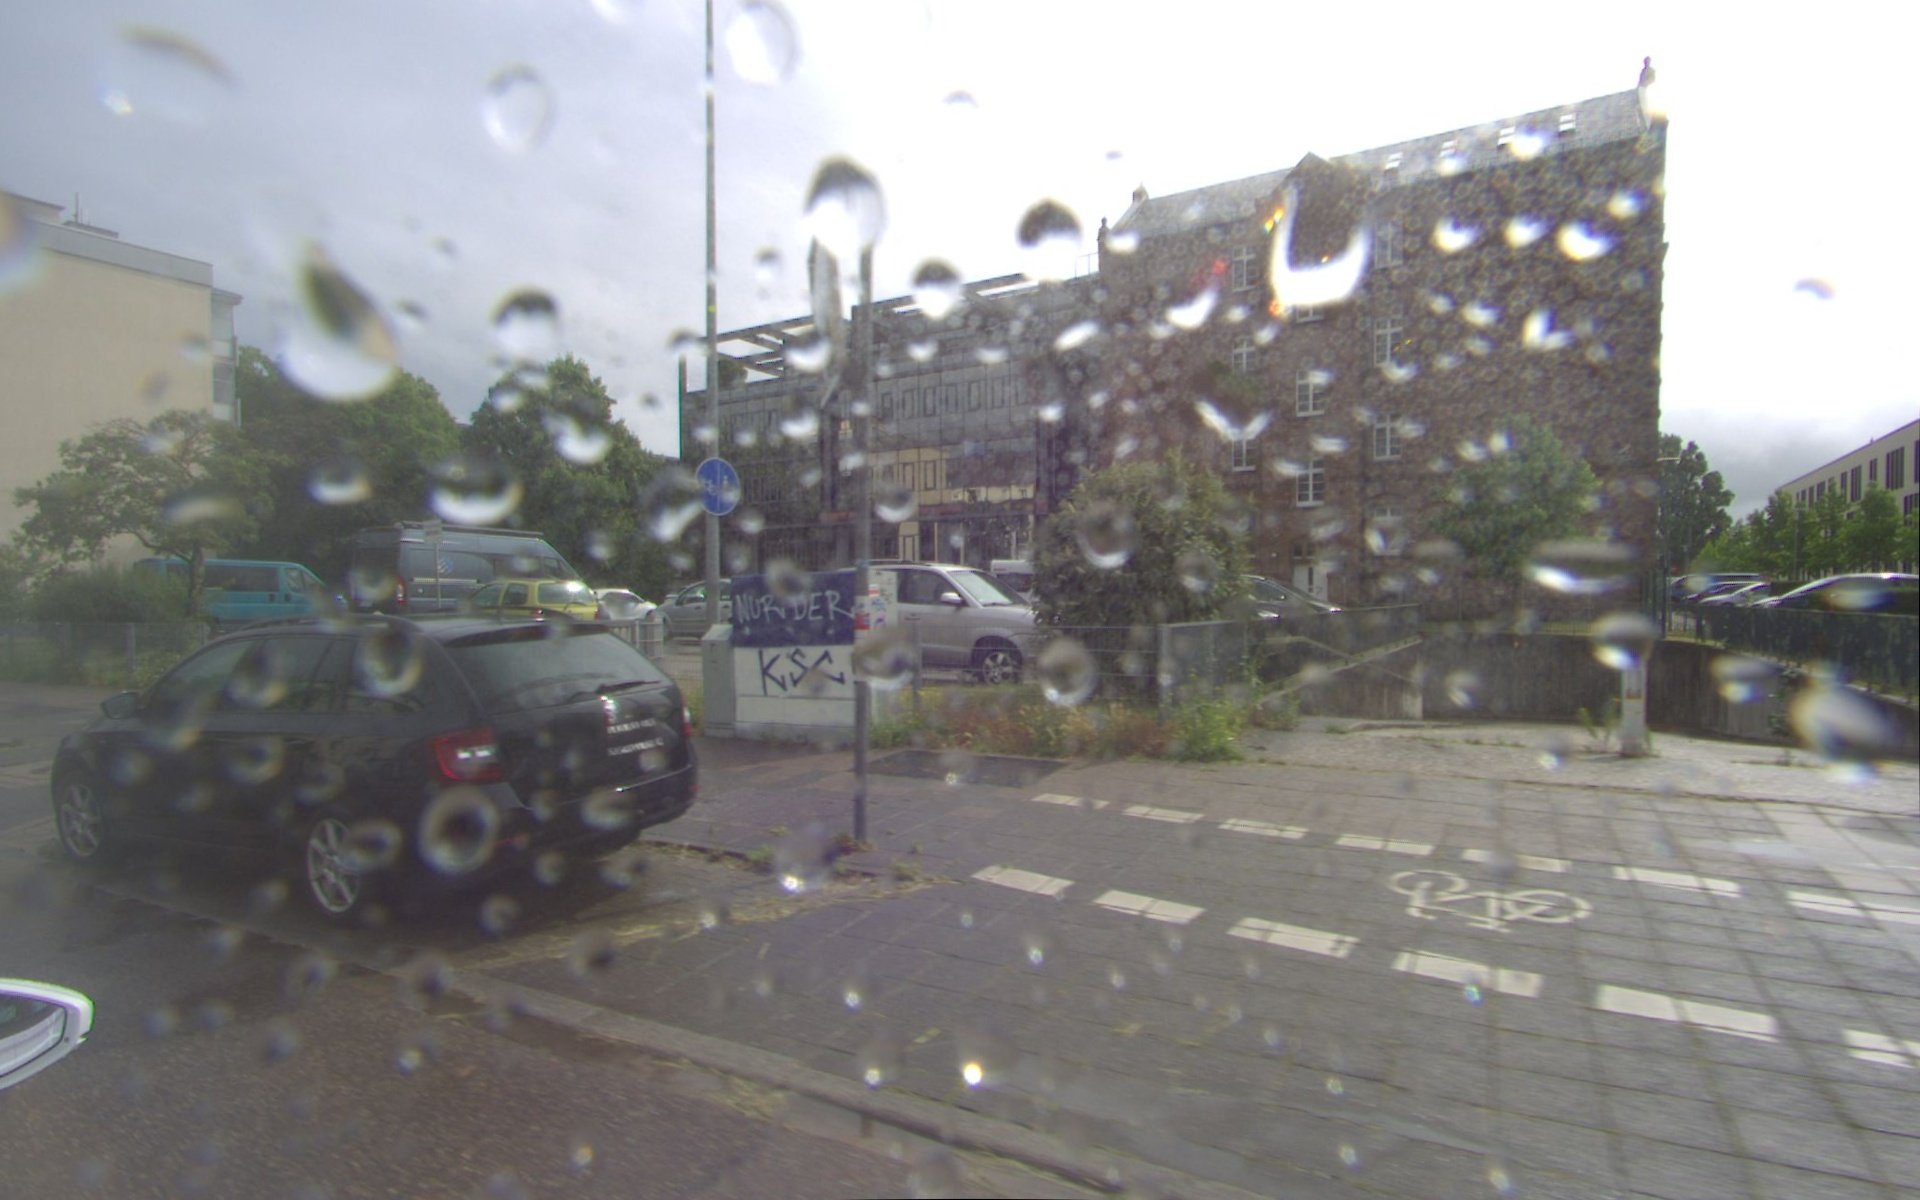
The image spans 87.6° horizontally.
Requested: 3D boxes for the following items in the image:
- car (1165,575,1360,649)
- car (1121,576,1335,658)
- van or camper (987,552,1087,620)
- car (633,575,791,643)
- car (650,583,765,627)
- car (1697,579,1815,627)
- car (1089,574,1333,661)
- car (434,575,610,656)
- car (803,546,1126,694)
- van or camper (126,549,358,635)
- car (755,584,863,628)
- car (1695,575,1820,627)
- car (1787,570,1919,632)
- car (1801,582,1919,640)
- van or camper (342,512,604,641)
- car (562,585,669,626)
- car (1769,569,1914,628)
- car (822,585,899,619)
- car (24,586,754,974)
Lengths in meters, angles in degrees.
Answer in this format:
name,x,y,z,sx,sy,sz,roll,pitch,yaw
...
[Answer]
name,x,y,z,sx,sy,sz,roll,pitch,yaw
car,7.524,0.263,25.034,4.360,1.702,1.848,0,1,33
car,6.031,0.343,22.753,4.365,1.702,1.846,0,1,37
van or camper,3.198,-0.476,40.514,2.224,2.518,4.781,-1,-2,30
car,-5.971,0.188,24.001,3.666,1.506,1.644,0,1,34
car,-8.986,0.134,35.970,1.648,1.485,3.965,0,1,32
car,33.714,0.157,42.545,3.753,1.923,1.751,-1,-2,33
car,4.933,0.297,19.919,4.364,1.547,1.823,0,1,36
car,-8.629,0.265,19.673,3.369,1.468,1.606,0,1,34
car,0.016,0.231,13.919,4.176,1.773,1.800,0,1,31
van or camper,-19.779,-0.211,27.804,2.289,2.160,4.746,1,1,34
car,-5.352,0.170,35.883,1.648,1.485,3.965,0,1,32
car,32.040,0.083,40.375,3.753,1.996,1.751,-1,-2,33
car,26.224,0.066,28.647,3.753,1.713,1.751,-1,-2,33
car,24.772,0.310,26.402,3.753,1.471,1.751,-1,-2,33
van or camper,-10.907,-0.445,22.846,2.144,2.588,4.988,-1,0,32
car,-13.230,0.186,38.601,1.616,1.506,3.656,0,1,34
car,32.280,0.003,36.812,3.753,2.033,1.751,-1,-2,33
car,-4.499,0.086,45.817,1.648,1.506,3.659,0,0,32
car,-3.490,0.741,5.964,4.311,1.561,1.771,0,3,29
